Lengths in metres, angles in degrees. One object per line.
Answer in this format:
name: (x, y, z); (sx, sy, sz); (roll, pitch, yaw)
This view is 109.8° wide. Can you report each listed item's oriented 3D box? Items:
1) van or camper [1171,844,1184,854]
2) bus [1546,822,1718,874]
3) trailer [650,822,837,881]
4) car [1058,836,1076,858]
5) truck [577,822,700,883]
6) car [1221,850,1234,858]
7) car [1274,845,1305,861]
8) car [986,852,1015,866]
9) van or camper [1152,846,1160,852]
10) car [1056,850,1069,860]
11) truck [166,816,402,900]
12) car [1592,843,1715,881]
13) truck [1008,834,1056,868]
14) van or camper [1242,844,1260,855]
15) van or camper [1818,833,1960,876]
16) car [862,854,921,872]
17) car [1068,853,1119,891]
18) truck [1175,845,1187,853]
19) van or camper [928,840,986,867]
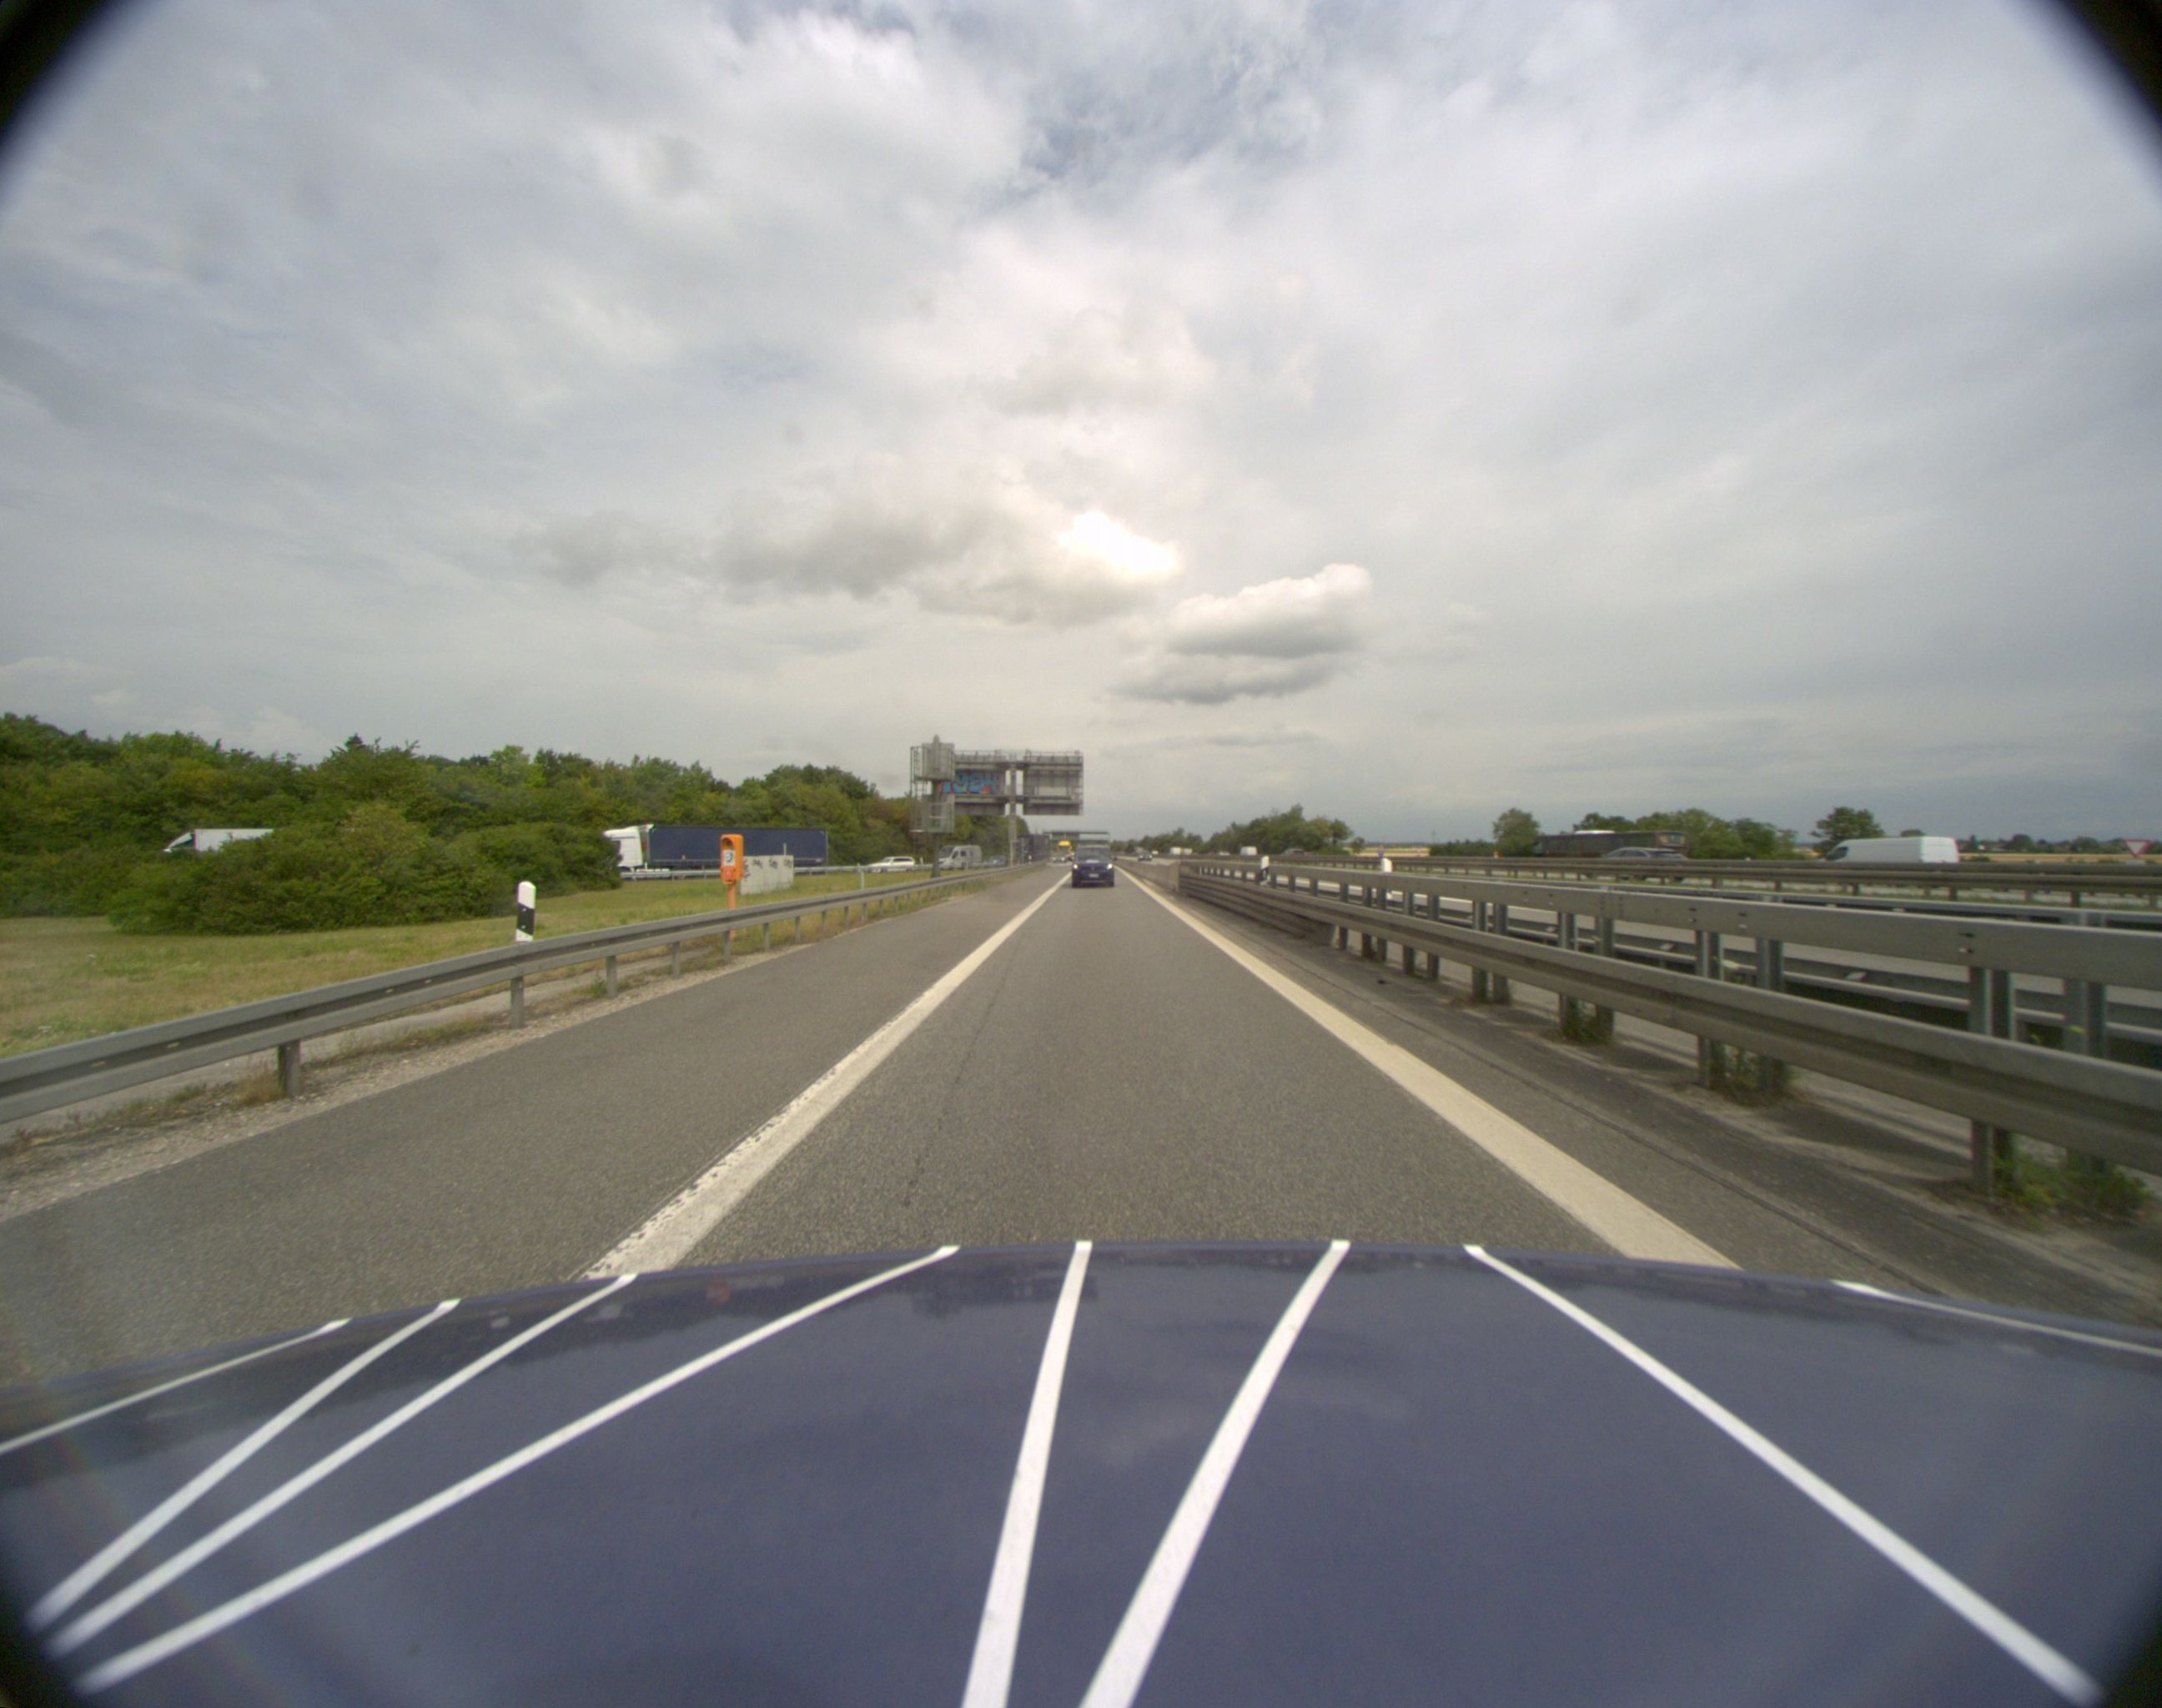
van or camper: (24.433, -1.233, 192.654); (2.193, 2.604, 6.902); (-1, 0, -2)
bus: (41.405, -0.480, 58.097); (3.223, 3.423, 12.987); (-1, 1, -3)
trailer: (-26.179, -0.281, 59.874); (3.332, 4.169, 13.058); (0, 1, 45)
car: (-2.940, -1.501, 166.664); (3.394, 4.458, 11.606); (-1, 1, 1)
truck: (-31.553, -0.164, 54.351); (3.361, 4.071, 6.803); (0, 1, 43)
car: (25.721, -0.027, 133.219); (1.527, 1.455, 3.999); (-1, 1, 0)
car: (22.618, -0.083, 82.557); (1.999, 1.652, 3.998); (-1, 1, -3)
car: (-8.719, 0.508, 82.454); (1.731, 1.411, 3.670); (-1, 1, 20)
van or camper: (22.797, -1.405, 231.261); (1.999, 1.818, 4.347); (-1, 1, -1)
car: (-2.742, 0.108, 110.816); (1.866, 1.434, 3.999); (-1, 1, -2)
truck: (-46.967, 0.110, 45.323); (9.004, 4.589, 3.275); (-2, 1, -29)
car: (24.123, 0.307, 32.252); (1.999, 1.460, 4.139); (-1, 1, -3)
truck: (-5.890, -0.375, 94.022); (3.021, 3.931, 10.349); (-1, 1, 12)
van or camper: (34.103, -0.840, 152.633); (2.193, 2.159, 5.807); (-1, 0, -3)
van or camper: (41.264, 0.008, 39.024); (1.999, 2.002, 4.882); (-1, 1, -2)
car: (-16.847, 0.740, 67.764); (2.207, 1.493, 4.797); (0, 1, 37)
car: (0.455, 0.689, 31.545); (1.866, 1.434, 3.999); (-1, 1, -2)
truck: (32.516, -1.646, 247.436); (2.913, 2.758, 8.782); (-1, 0, 2)
van or camper: (-12.186, -0.121, 75.096); (2.295, 2.553, 6.171); (0, 1, 28)
